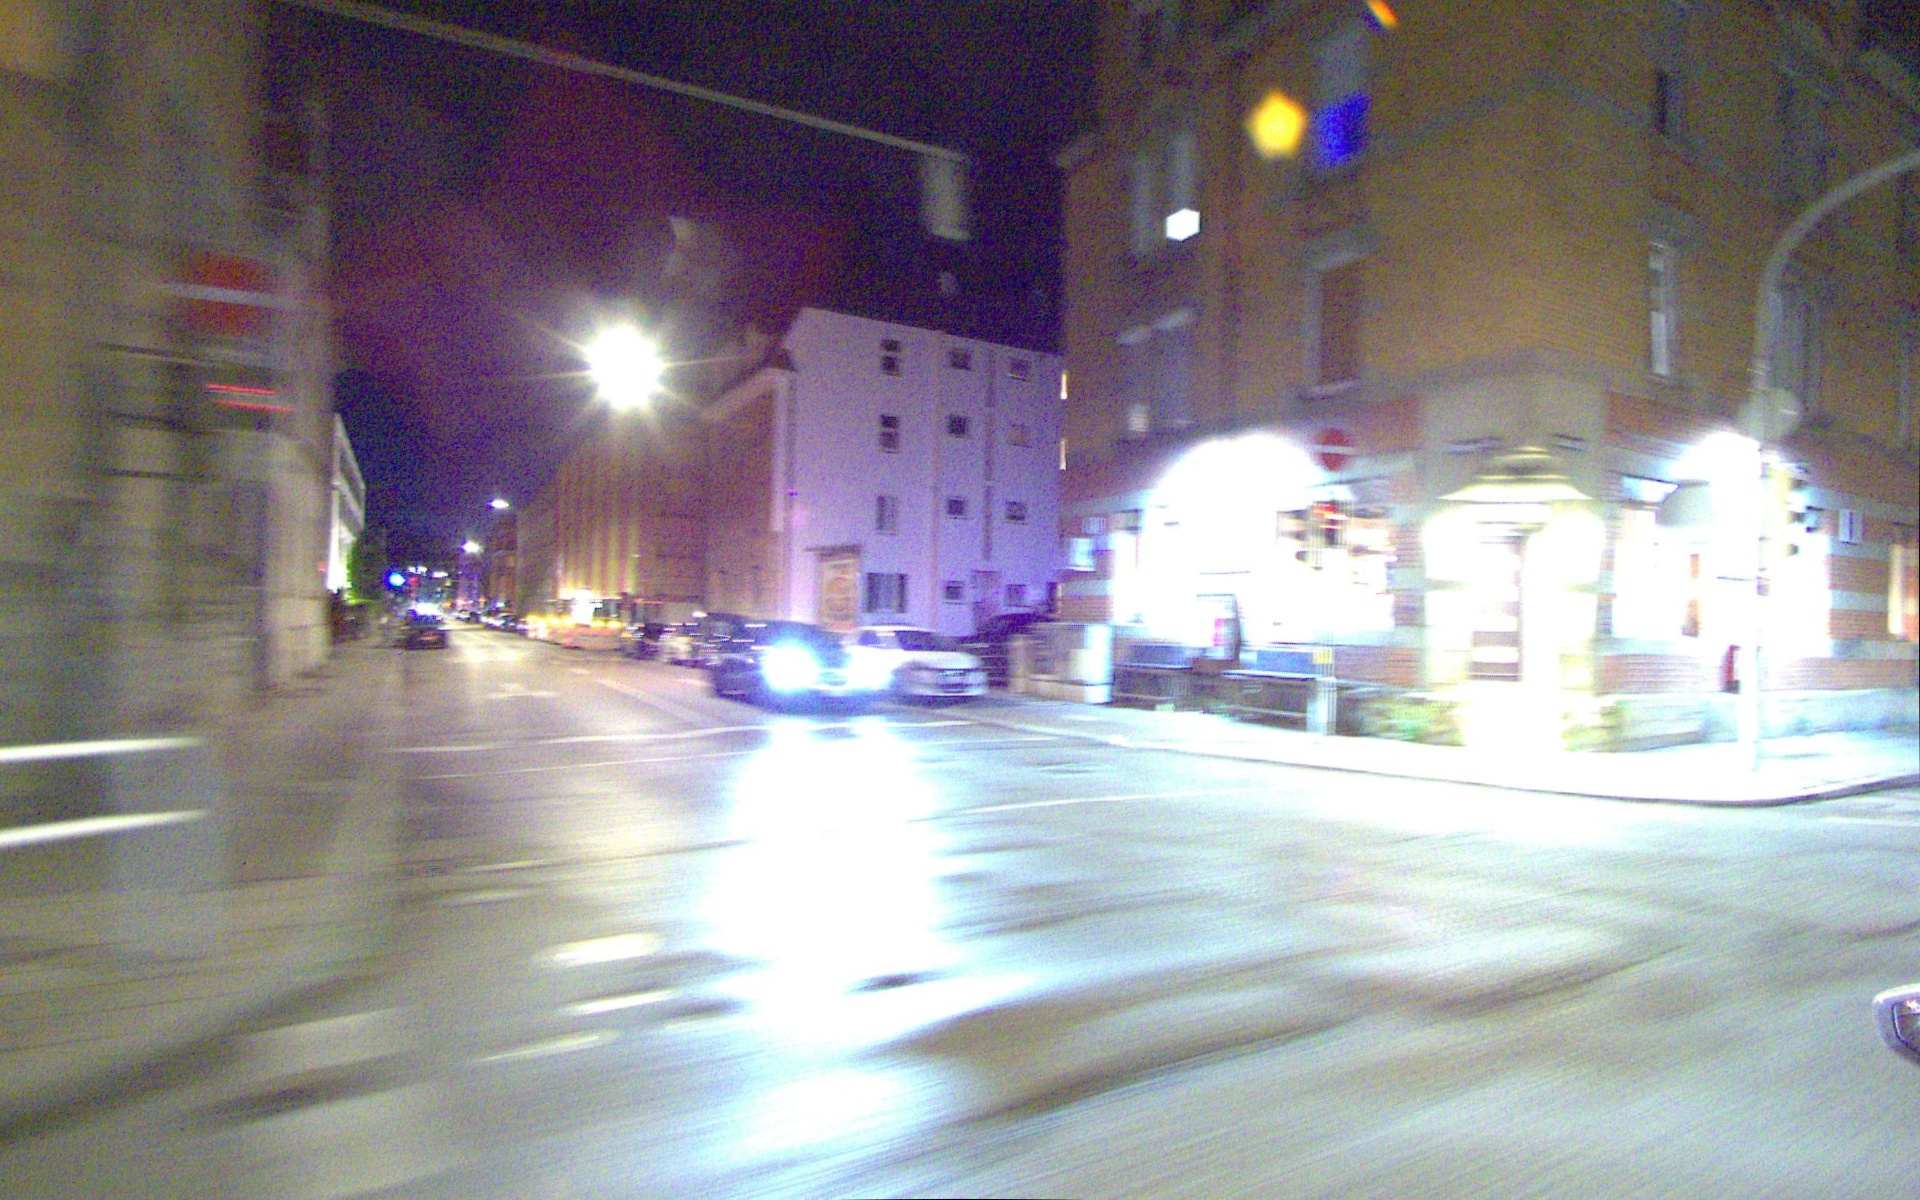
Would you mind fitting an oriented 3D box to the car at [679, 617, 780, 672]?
[{"bbox_3d":[-7.328,1.366,31.617,1.976,1.619,4.256,2,-2,-29],"label":"car"}]

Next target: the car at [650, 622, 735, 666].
[{"bbox_3d":[-9.720,1.569,36.284,1.976,1.482,4.156,2,-2,-29],"label":"car"}]

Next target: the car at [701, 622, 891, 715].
[{"bbox_3d":[-3.095,1.132,18.050,1.894,1.436,4.605,2,-2,-29],"label":"car"}]

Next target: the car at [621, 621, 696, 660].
[{"bbox_3d":[-12.065,1.581,40.064,1.976,1.482,4.156,2,-2,-29],"label":"car"}]

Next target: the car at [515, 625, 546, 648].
[{"bbox_3d":[-34.510,2.925,80.638,1.975,1.706,3.972,2,-2,-27],"label":"car"}]

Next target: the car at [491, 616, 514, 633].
[{"bbox_3d":[-47.797,2.584,104.871,1.975,1.706,3.972,2,-2,-27],"label":"car"}]

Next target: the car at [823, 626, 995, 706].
[{"bbox_3d":[-1.152,1.259,20.305,1.780,1.421,4.256,2,-2,-29],"label":"car"}]

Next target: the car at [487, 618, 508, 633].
[{"bbox_3d":[-52.253,2.852,113.420,1.975,1.706,3.972,2,-2,-27],"label":"car"}]

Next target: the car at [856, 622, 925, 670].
[{"bbox_3d":[-2.335,1.481,32.999,1.673,1.441,3.609,3,-2,-13],"label":"car"}]

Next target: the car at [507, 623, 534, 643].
[{"bbox_3d":[-39.003,2.949,89.088,1.975,1.706,3.972,2,-2,-27],"label":"car"}]

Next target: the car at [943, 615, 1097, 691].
[{"bbox_3d":[1.320,1.204,23.403,1.686,1.614,3.582,4,-2,-35],"label":"car"}]

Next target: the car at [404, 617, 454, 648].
[{"bbox_3d":[-25.090,1.524,47.389,1.852,1.398,3.967,2,-2,-31],"label":"car"}]

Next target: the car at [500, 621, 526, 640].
[{"bbox_3d":[-42.471,2.909,95.386,1.975,1.706,3.972,2,-2,-27],"label":"car"}]

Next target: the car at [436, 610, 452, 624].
[{"bbox_3d":[-72.931,2.403,141.941,1.698,1.728,3.820,2,0,-32],"label":"car"}]
